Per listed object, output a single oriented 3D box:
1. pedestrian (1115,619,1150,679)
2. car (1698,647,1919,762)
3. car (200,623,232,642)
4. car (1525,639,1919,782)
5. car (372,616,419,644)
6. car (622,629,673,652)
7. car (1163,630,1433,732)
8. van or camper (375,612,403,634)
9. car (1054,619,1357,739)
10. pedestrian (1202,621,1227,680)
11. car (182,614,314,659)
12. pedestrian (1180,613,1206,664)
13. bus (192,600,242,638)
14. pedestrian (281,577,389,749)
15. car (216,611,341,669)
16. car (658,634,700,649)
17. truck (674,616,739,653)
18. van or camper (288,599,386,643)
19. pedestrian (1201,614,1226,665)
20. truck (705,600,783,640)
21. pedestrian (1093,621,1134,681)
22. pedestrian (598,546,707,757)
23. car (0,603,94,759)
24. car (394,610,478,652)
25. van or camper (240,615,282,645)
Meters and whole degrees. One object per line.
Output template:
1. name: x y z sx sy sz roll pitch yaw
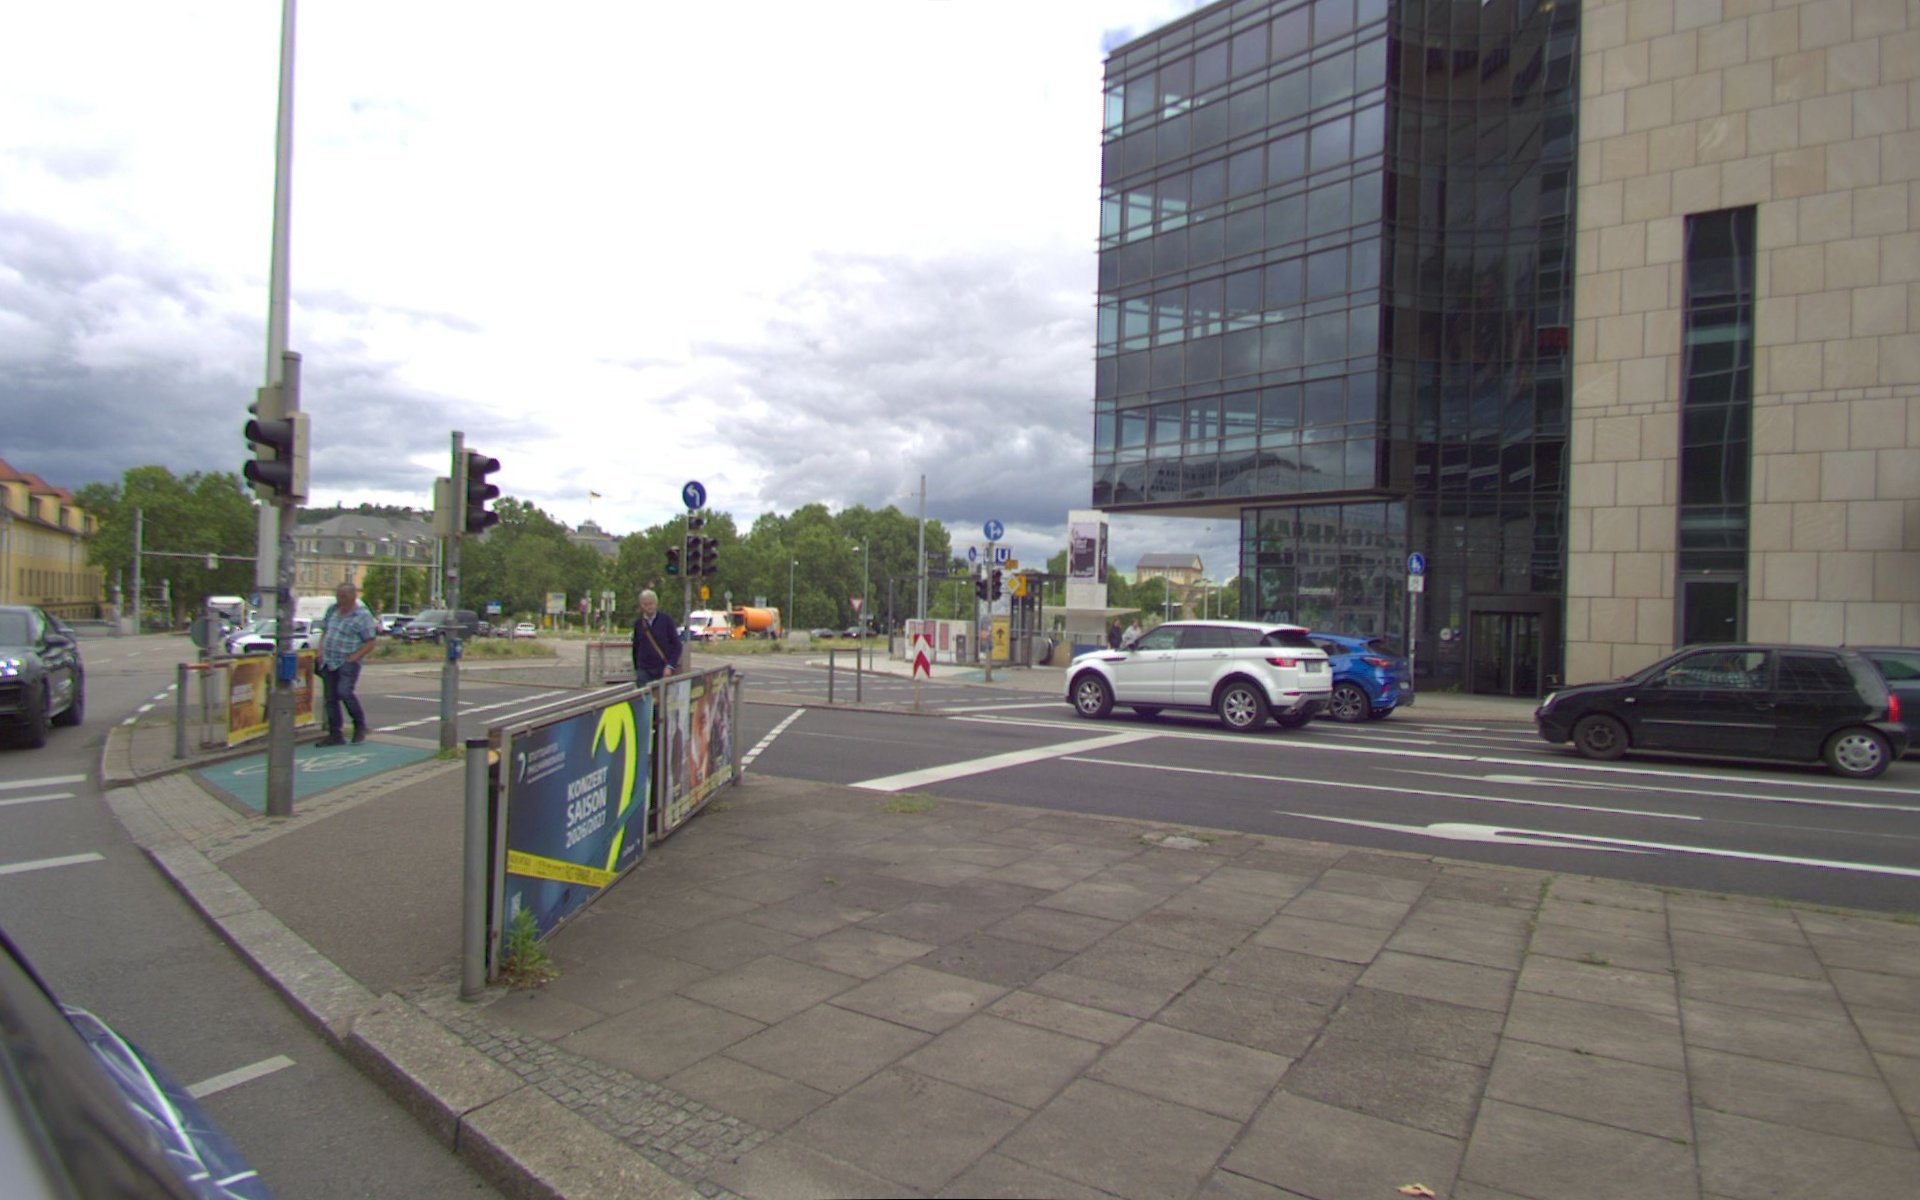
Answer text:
1. pedestrian: 5.002 1.413 29.315 0.595 1.643 0.789 -3 3 -32
2. car: 11.724 1.311 12.968 3.626 1.352 1.542 -1 -3 36
3. car: -58.945 2.588 80.224 1.798 1.419 4.011 2 -2 -34
4. car: 8.718 1.180 11.746 3.626 1.390 1.542 -1 -3 36
5. car: -32.528 1.739 58.432 1.915 1.494 4.643 0 -2 -23
6. car: -24.306 3.144 78.740 1.848 1.752 3.712 0 -2 22
7. car: 5.838 1.314 17.667 4.084 1.537 1.975 -1 -2 37
8. van or camper: -50.721 2.026 89.830 1.835 1.931 4.726 1 -1 -33
9. car: 3.717 1.121 15.797 4.318 1.611 1.715 -1 -2 43
10. pedestrian: 8.042 1.590 31.984 0.689 1.824 0.930 0 -1 10
11. car: -27.089 1.372 38.668 1.976 1.613 3.992 0 -2 7
12. pedestrian: 7.990 1.316 34.708 0.632 1.713 0.759 -1 -2 39
13. bus: -66.469 1.709 90.735 3.379 3.228 13.094 1 -1 -36
14. pedestrian: -6.837 0.697 11.095 0.633 1.804 0.709 -2 -6 35
15. car: -21.354 1.292 31.937 2.061 1.621 4.425 -2 -2 -17
16. car: -25.880 3.788 93.315 1.766 1.283 3.826 0 -1 23
17. truck: -20.137 2.703 80.797 1.945 2.805 5.741 -1 -1 24
18. van or camper: -37.095 1.266 60.485 2.116 2.496 6.162 0 -1 -1
19. pedestrian: 8.593 1.325 34.297 0.632 1.713 0.635 -1 -2 39
20. truck: -20.556 1.988 97.007 2.710 3.644 9.108 -1 -3 22
21. pedestrian: 4.344 1.442 28.706 0.643 1.625 0.968 1 1 -32
22. pedestrian: -3.337 0.542 11.047 0.756 2.189 0.874 0 -2 17
23. car: -12.261 0.890 12.376 1.972 1.651 5.033 1 -1 -34
24. car: -27.160 1.605 52.619 1.835 2.003 4.639 2 -2 1
25. van or camper: -57.130 2.480 82.779 2.334 2.280 6.306 3 -3 -31
